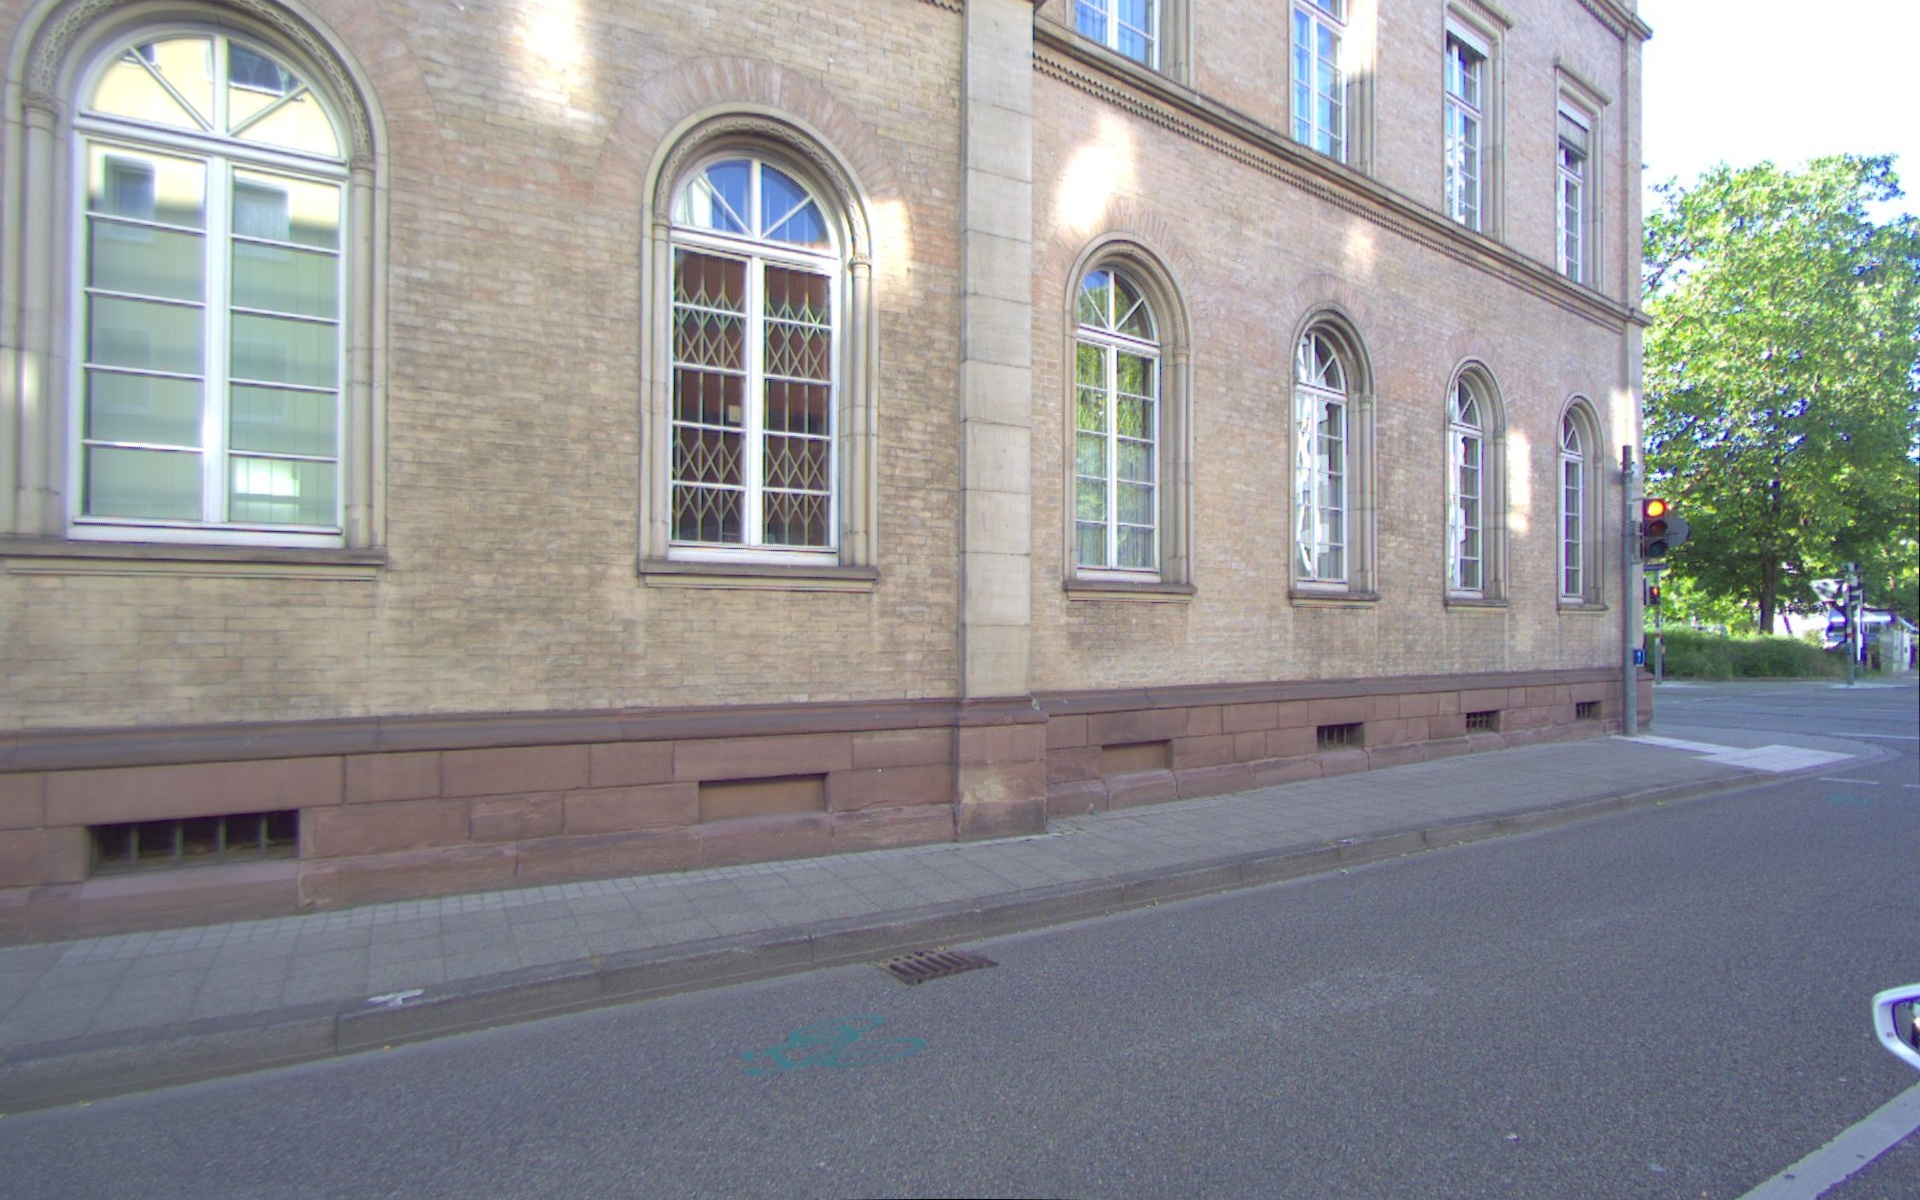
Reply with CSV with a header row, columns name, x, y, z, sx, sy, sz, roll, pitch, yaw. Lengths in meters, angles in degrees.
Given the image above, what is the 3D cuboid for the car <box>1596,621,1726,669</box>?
name,x,y,z,sx,sy,sz,roll,pitch,yaw
car,24.385,1.526,35.026,1.636,1.476,3.382,2,0,-39

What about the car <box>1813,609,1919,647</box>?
name,x,y,z,sx,sy,sz,roll,pitch,yaw
car,53.507,1.620,59.386,1.983,2.040,4.409,2,0,-38
